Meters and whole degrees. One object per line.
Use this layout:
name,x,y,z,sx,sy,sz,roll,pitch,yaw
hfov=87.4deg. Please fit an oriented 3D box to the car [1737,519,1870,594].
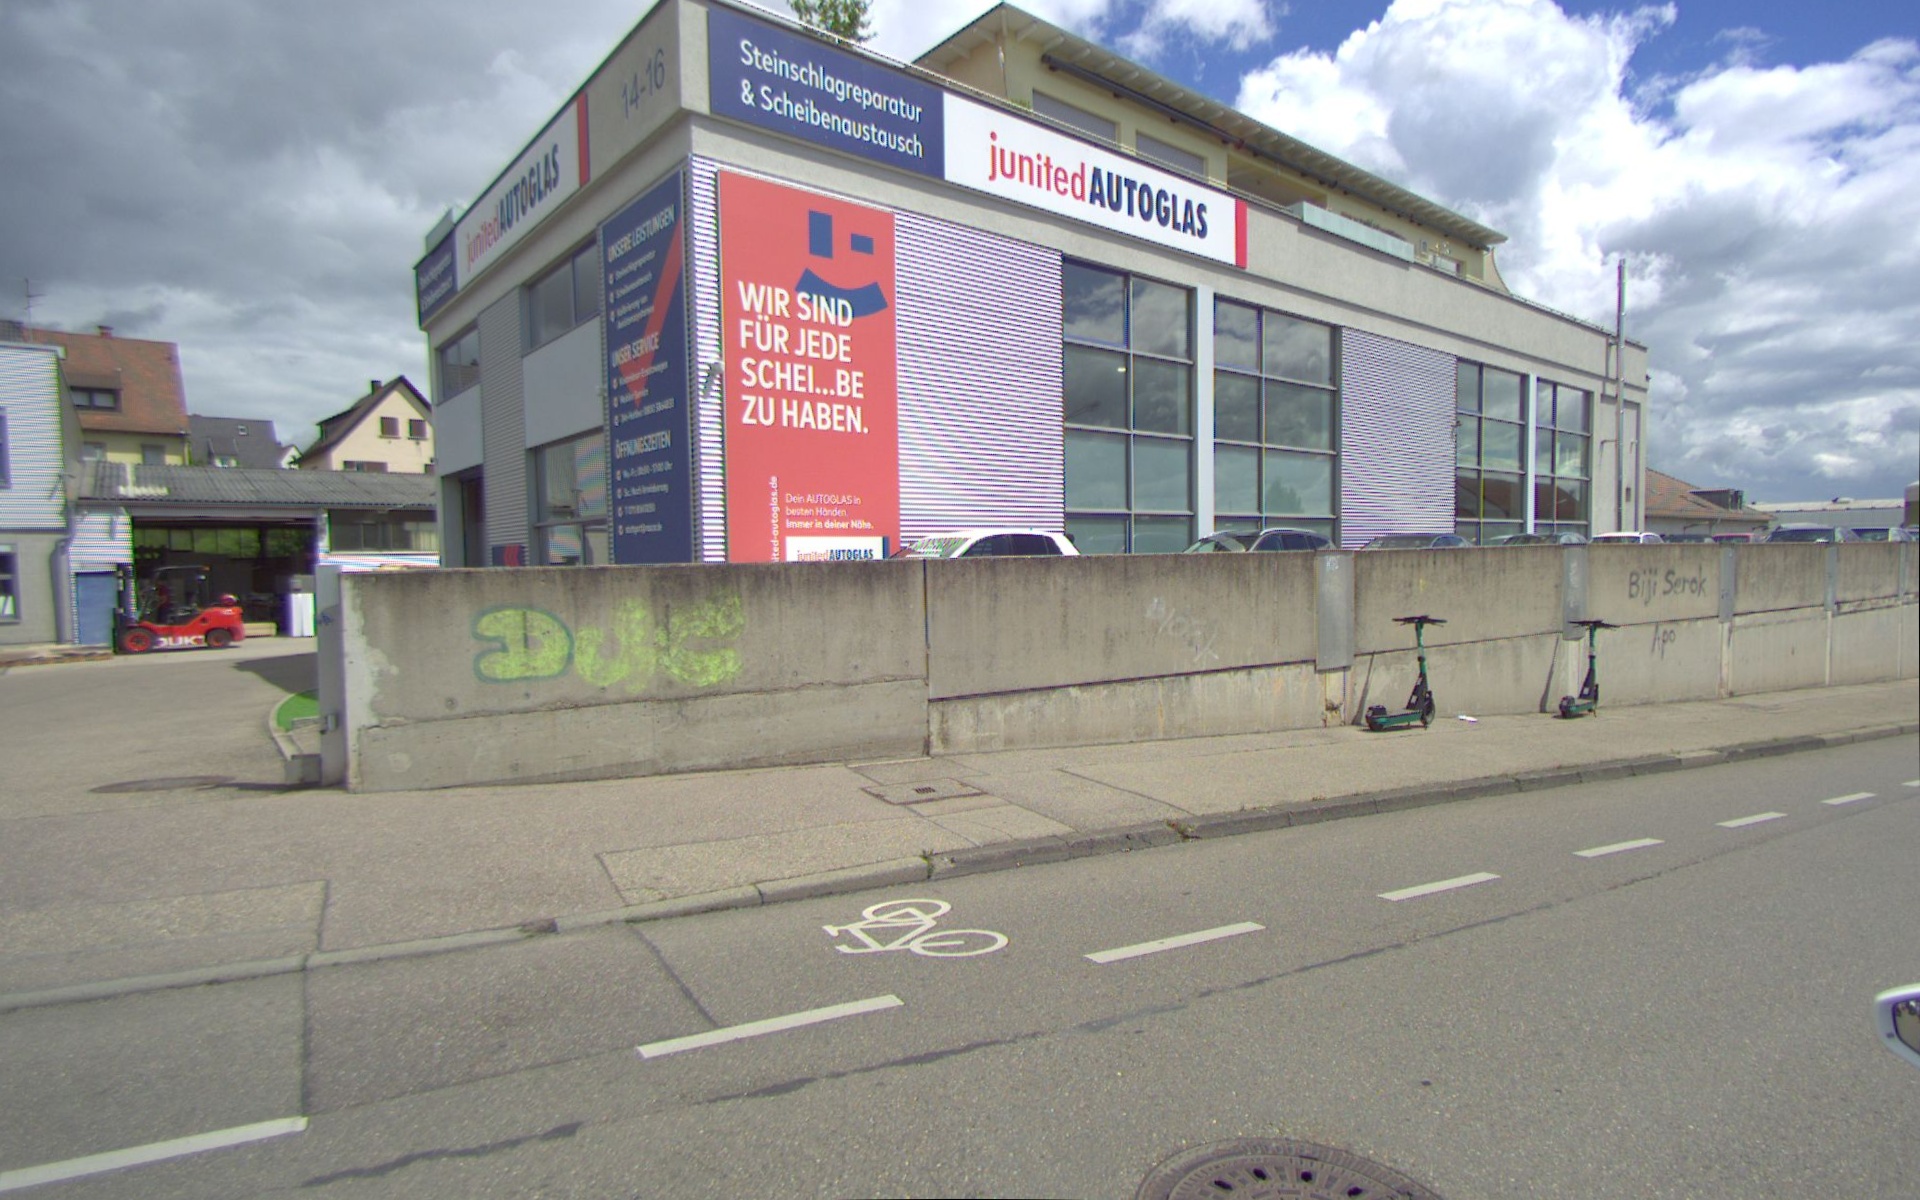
car,21.371,-1.049,25.414,4.069,1.658,1.792,1,0,-39

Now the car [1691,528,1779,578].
car,29.409,-1.743,38.075,4.079,1.658,1.791,1,0,-40

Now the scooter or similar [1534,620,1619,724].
scooter or similar,8.244,0.926,13.410,1.373,1.293,0.514,1,3,-41

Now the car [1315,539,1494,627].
car,9.315,-0.296,20.933,4.079,1.658,1.791,1,0,-40

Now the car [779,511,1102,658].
car,-0.161,-0.155,13.360,4.079,1.658,1.791,1,0,-40

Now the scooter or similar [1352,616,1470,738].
scooter or similar,5.105,0.841,11.358,1.291,1.293,0.554,1,1,-31

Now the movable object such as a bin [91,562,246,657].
movable object such as a bin,-21.273,0.187,27.079,3.119,2.382,1.418,-3,3,-40

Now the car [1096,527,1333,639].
car,4.345,-0.229,16.844,4.079,1.658,1.791,1,0,-40

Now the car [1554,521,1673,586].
car,19.129,-1.289,29.350,4.079,1.658,1.791,1,0,-40
